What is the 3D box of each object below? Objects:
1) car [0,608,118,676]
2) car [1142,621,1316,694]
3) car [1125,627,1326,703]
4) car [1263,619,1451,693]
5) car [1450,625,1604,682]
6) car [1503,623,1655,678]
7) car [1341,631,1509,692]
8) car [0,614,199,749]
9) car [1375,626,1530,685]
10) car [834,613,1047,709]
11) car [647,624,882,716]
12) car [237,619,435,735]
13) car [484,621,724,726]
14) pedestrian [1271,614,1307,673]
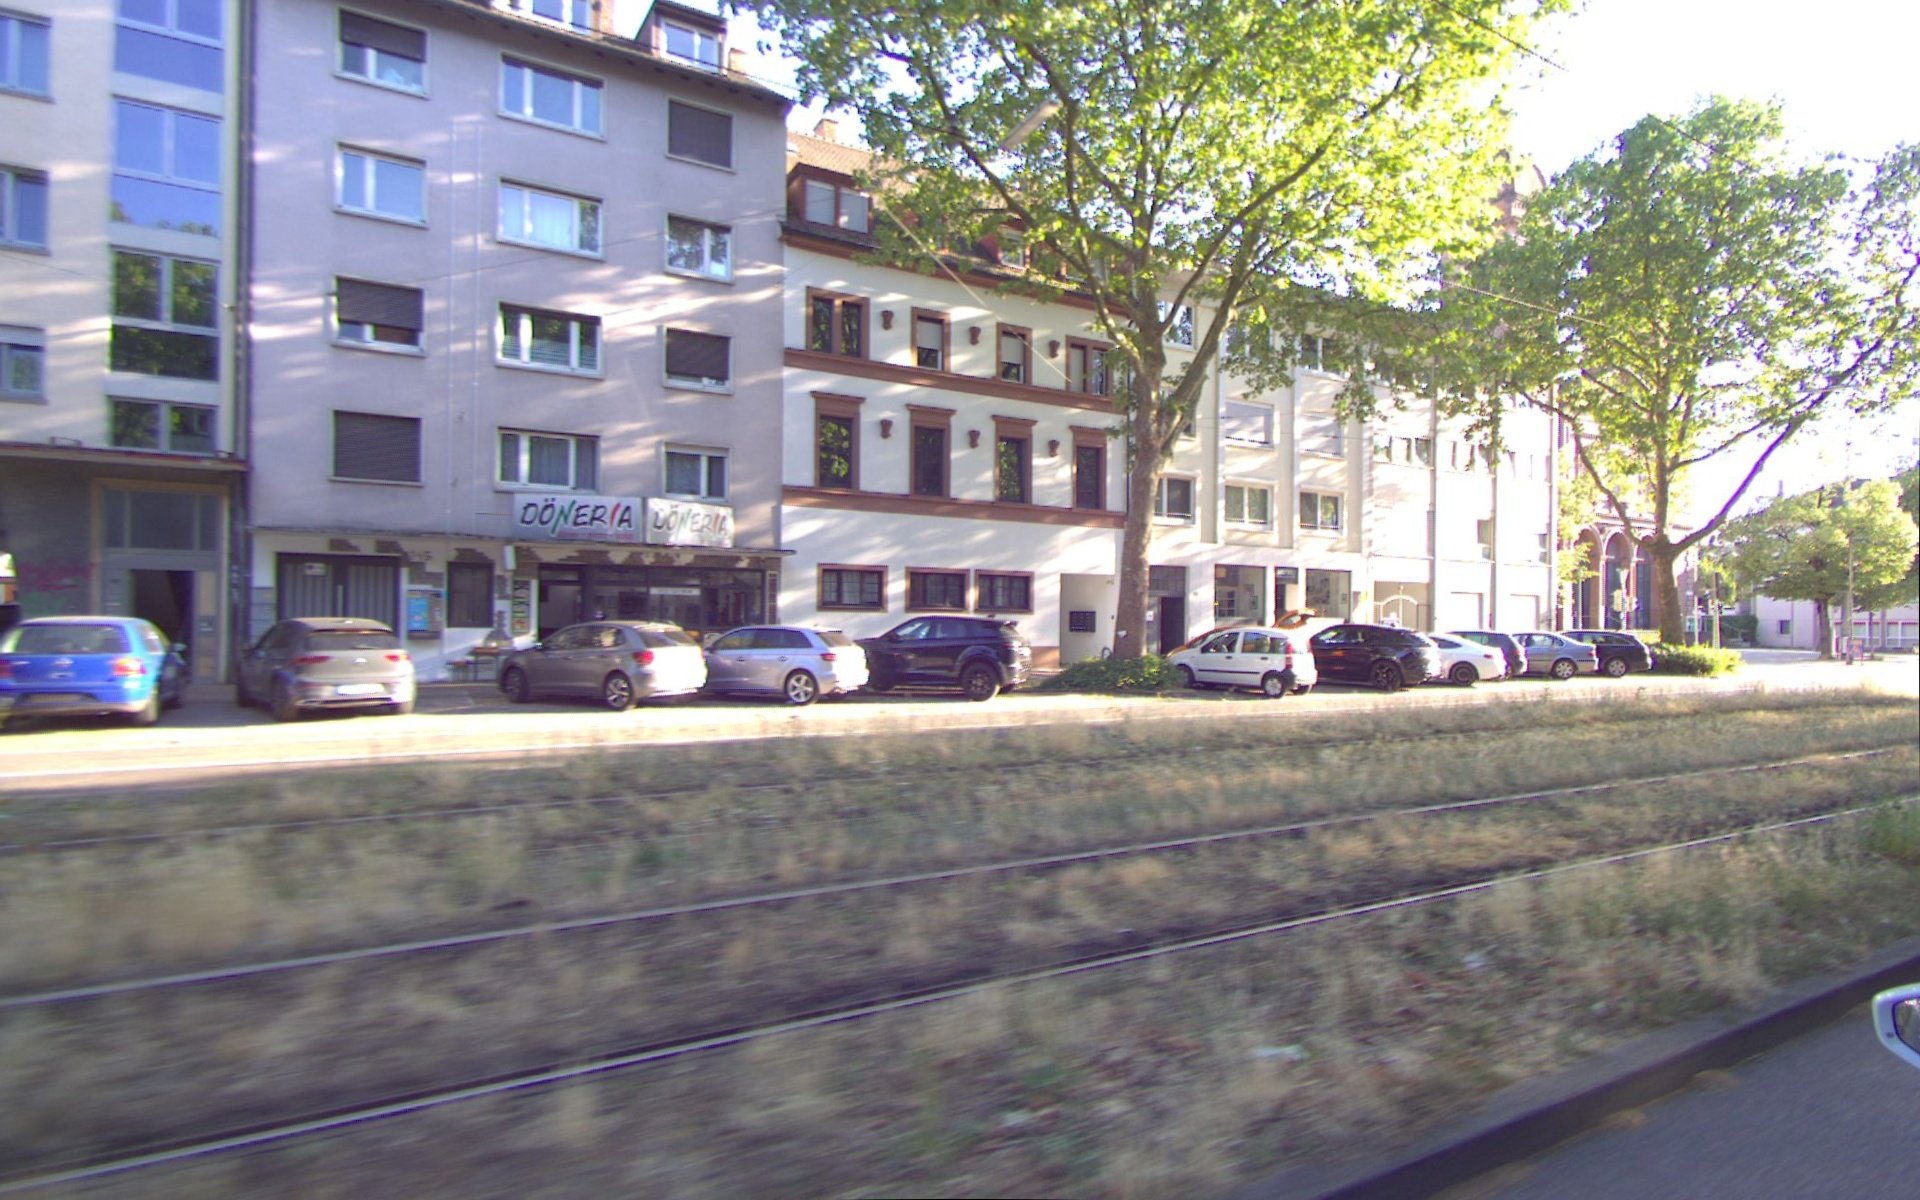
[{"bbox_3d":[-23.335,1.029,25.764,1.977,1.576,3.967,2,-1,-30],"label":"car"},{"bbox_3d":[6.888,1.413,25.925,3.940,1.499,1.769,3,2,41],"label":"car"},{"bbox_3d":[6.264,1.471,23.876,4.290,1.468,1.654,2,0,34],"label":"car"},{"bbox_3d":[10.470,1.461,26.607,4.292,1.809,1.988,-2,-3,35],"label":"car"},{"bbox_3d":[17.836,1.663,31.799,3.921,1.460,1.722,3,1,20],"label":"car"},{"bbox_3d":[20.476,1.647,33.392,3.920,1.499,1.818,3,1,18],"label":"car"},{"bbox_3d":[13.035,1.683,28.357,4.126,1.351,1.720,3,1,25],"label":"car"},{"bbox_3d":[-12.140,1.036,14.231,1.838,1.439,3.963,2,1,-33],"label":"car"},{"bbox_3d":[14.790,1.638,30.376,3.920,1.460,1.802,3,1,18],"label":"car"},{"bbox_3d":[-0.374,1.184,20.750,3.921,1.683,2.000,1,1,20],"label":"car"},{"bbox_3d":[-3.684,1.269,19.121,3.920,1.404,1.913,2,1,16],"label":"car"},{"bbox_3d":[-9.864,1.094,15.765,1.937,1.512,3.950,1,-1,-43],"label":"car"},{"bbox_3d":[-6.300,1.215,17.740,3.926,1.442,1.754,3,1,27],"label":"car"},{"bbox_3d":[11.041,1.430,33.711,0.887,1.925,0.949,2,0,33],"label":"pedestrian"}]
